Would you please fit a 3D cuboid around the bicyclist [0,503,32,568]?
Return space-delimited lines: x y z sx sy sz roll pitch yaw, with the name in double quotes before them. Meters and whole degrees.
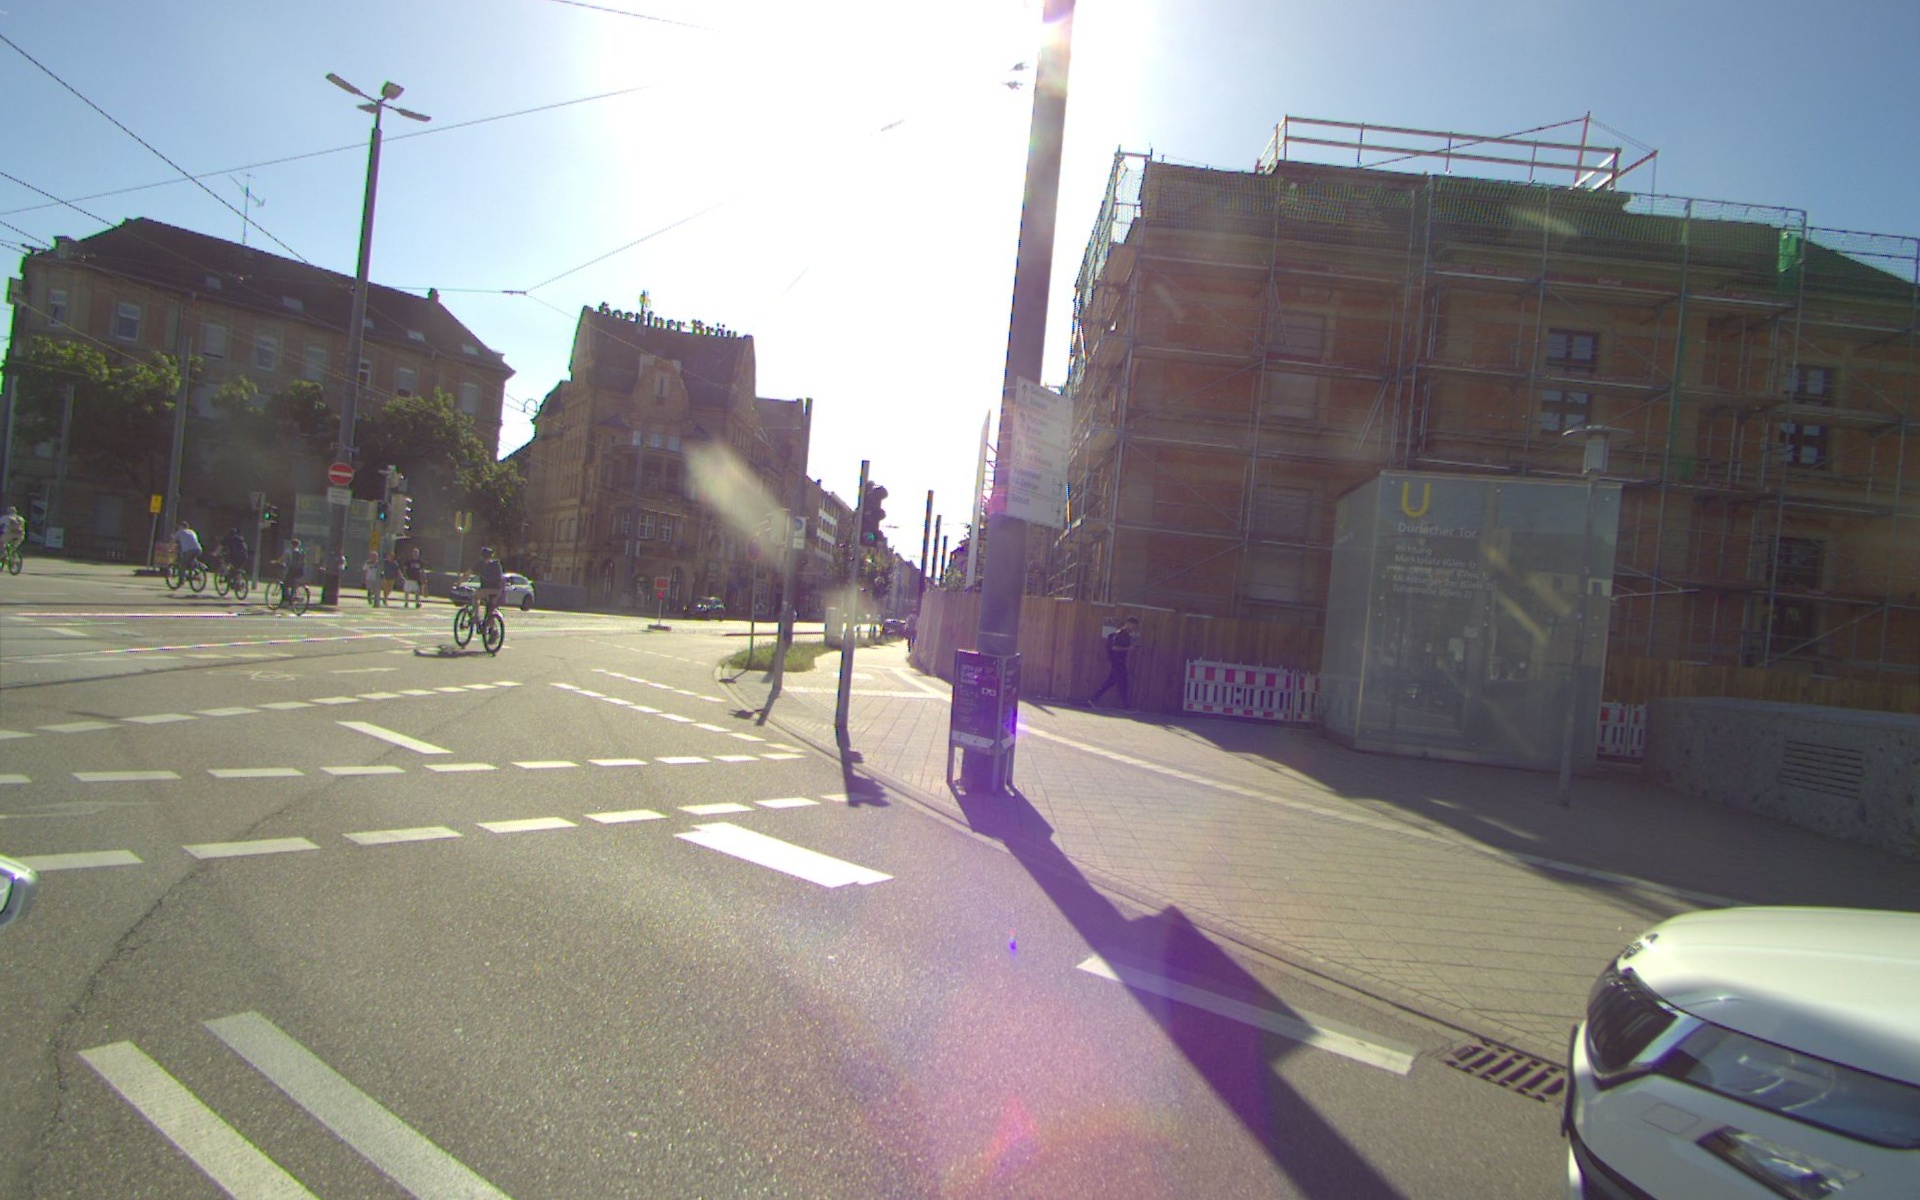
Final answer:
"bicyclist" -26.637 -1.820 28.106 1.103 1.703 0.681 5 -2 35

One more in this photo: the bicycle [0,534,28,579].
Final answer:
"bicycle" -26.838 -1.253 28.208 1.903 1.130 0.532 7 -1 35

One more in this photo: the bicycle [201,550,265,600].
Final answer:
"bicycle" -18.372 -0.634 25.416 1.902 1.131 0.532 4 -1 31

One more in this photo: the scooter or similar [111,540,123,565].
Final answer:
"scooter or similar" -41.418 -2.350 49.416 0.269 1.198 1.546 8 -3 -44

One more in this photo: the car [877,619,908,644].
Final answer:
"car" -4.942 2.310 73.116 1.965 1.591 4.001 7 -3 -5

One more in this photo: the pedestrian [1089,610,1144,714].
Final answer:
"pedestrian" 2.898 1.154 18.661 0.815 1.808 0.778 6 -2 8

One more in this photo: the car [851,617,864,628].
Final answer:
"car" -18.723 4.130 184.488 1.720 1.642 4.015 5 0 2

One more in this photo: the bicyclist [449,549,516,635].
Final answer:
"bicyclist" -8.585 -0.143 18.086 0.672 1.437 1.024 8 -3 -42

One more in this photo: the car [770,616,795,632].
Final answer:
"car" -19.646 2.683 111.523 1.720 1.640 4.019 5 -2 2

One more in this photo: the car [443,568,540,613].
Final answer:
"car" -21.093 -0.382 45.482 1.882 1.640 4.256 4 -2 7

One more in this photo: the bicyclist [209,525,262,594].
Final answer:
"bicyclist" -18.312 -1.029 25.422 0.965 1.632 0.624 5 -2 33

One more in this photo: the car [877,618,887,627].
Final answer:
"car" -16.929 4.910 218.281 1.720 1.642 4.015 5 0 2

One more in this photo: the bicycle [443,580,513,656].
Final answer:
"bicycle" -8.748 0.313 18.209 0.530 1.172 1.844 8 -1 -41

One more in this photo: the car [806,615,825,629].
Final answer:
"car" -18.925 2.852 131.908 1.720 1.640 4.019 5 -2 2

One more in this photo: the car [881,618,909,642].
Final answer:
"car" -5.114 2.374 78.702 1.965 1.636 4.001 7 -3 -5

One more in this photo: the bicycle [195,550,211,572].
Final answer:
"bicycle" -39.177 -2.005 52.029 0.402 1.073 1.336 8 -3 -44

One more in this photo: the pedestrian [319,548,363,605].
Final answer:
"pedestrian" -18.842 -0.726 30.615 0.777 1.614 0.740 5 -2 35

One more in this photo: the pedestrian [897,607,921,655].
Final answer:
"pedestrian" -2.272 1.401 45.248 0.849 2.037 1.088 6 -2 -3

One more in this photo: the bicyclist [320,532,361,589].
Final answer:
"bicyclist" -18.956 -1.207 30.766 0.938 1.632 0.598 5 -2 36

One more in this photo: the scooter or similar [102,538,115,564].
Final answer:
"scooter or similar" -41.631 -2.387 49.186 0.269 1.198 1.546 8 -3 -44

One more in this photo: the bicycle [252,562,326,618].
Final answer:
"bicycle" -15.448 -0.238 23.150 1.901 1.130 0.532 5 -2 30

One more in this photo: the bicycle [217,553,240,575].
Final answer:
"bicycle" -38.377 -1.894 52.779 1.329 1.073 0.404 5 -2 30

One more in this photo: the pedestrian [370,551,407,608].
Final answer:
"pedestrian" -18.872 -0.664 33.206 0.812 1.777 0.658 5 -2 42

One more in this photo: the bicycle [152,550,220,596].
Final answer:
"bicycle" -20.999 -0.743 27.282 1.897 1.082 0.387 5 0 17

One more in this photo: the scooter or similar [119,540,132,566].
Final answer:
"scooter or similar" -41.179 -2.331 49.644 0.269 1.209 1.546 8 -3 -44

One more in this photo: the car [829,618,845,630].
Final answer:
"car" -19.366 3.735 158.409 1.720 1.643 4.012 5 2 2

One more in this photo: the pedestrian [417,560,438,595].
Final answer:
"pedestrian" -29.529 -1.256 55.791 0.537 1.870 0.650 6 -2 3

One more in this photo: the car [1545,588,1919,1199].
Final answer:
"car" 3.360 1.114 1.347 4.324 1.664 1.868 7 -2 32

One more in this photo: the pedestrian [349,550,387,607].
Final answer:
"pedestrian" -18.863 -0.682 32.073 0.812 1.696 0.658 5 -2 42

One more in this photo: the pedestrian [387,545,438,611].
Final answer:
"pedestrian" -17.512 -0.701 32.186 1.034 1.951 0.930 5 -2 41

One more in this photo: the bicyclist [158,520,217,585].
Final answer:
"bicyclist" -20.945 -1.279 27.288 0.869 1.612 0.785 5 0 16

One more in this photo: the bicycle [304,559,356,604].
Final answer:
"bicycle" -19.108 -0.568 30.515 1.903 1.130 0.532 7 -1 35

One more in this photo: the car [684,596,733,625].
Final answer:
"car" -17.985 0.780 72.098 1.882 1.706 4.256 4 -2 7

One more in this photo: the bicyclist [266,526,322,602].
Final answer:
"bicyclist" -15.323 -0.829 23.132 0.937 1.632 0.551 5 -2 30
